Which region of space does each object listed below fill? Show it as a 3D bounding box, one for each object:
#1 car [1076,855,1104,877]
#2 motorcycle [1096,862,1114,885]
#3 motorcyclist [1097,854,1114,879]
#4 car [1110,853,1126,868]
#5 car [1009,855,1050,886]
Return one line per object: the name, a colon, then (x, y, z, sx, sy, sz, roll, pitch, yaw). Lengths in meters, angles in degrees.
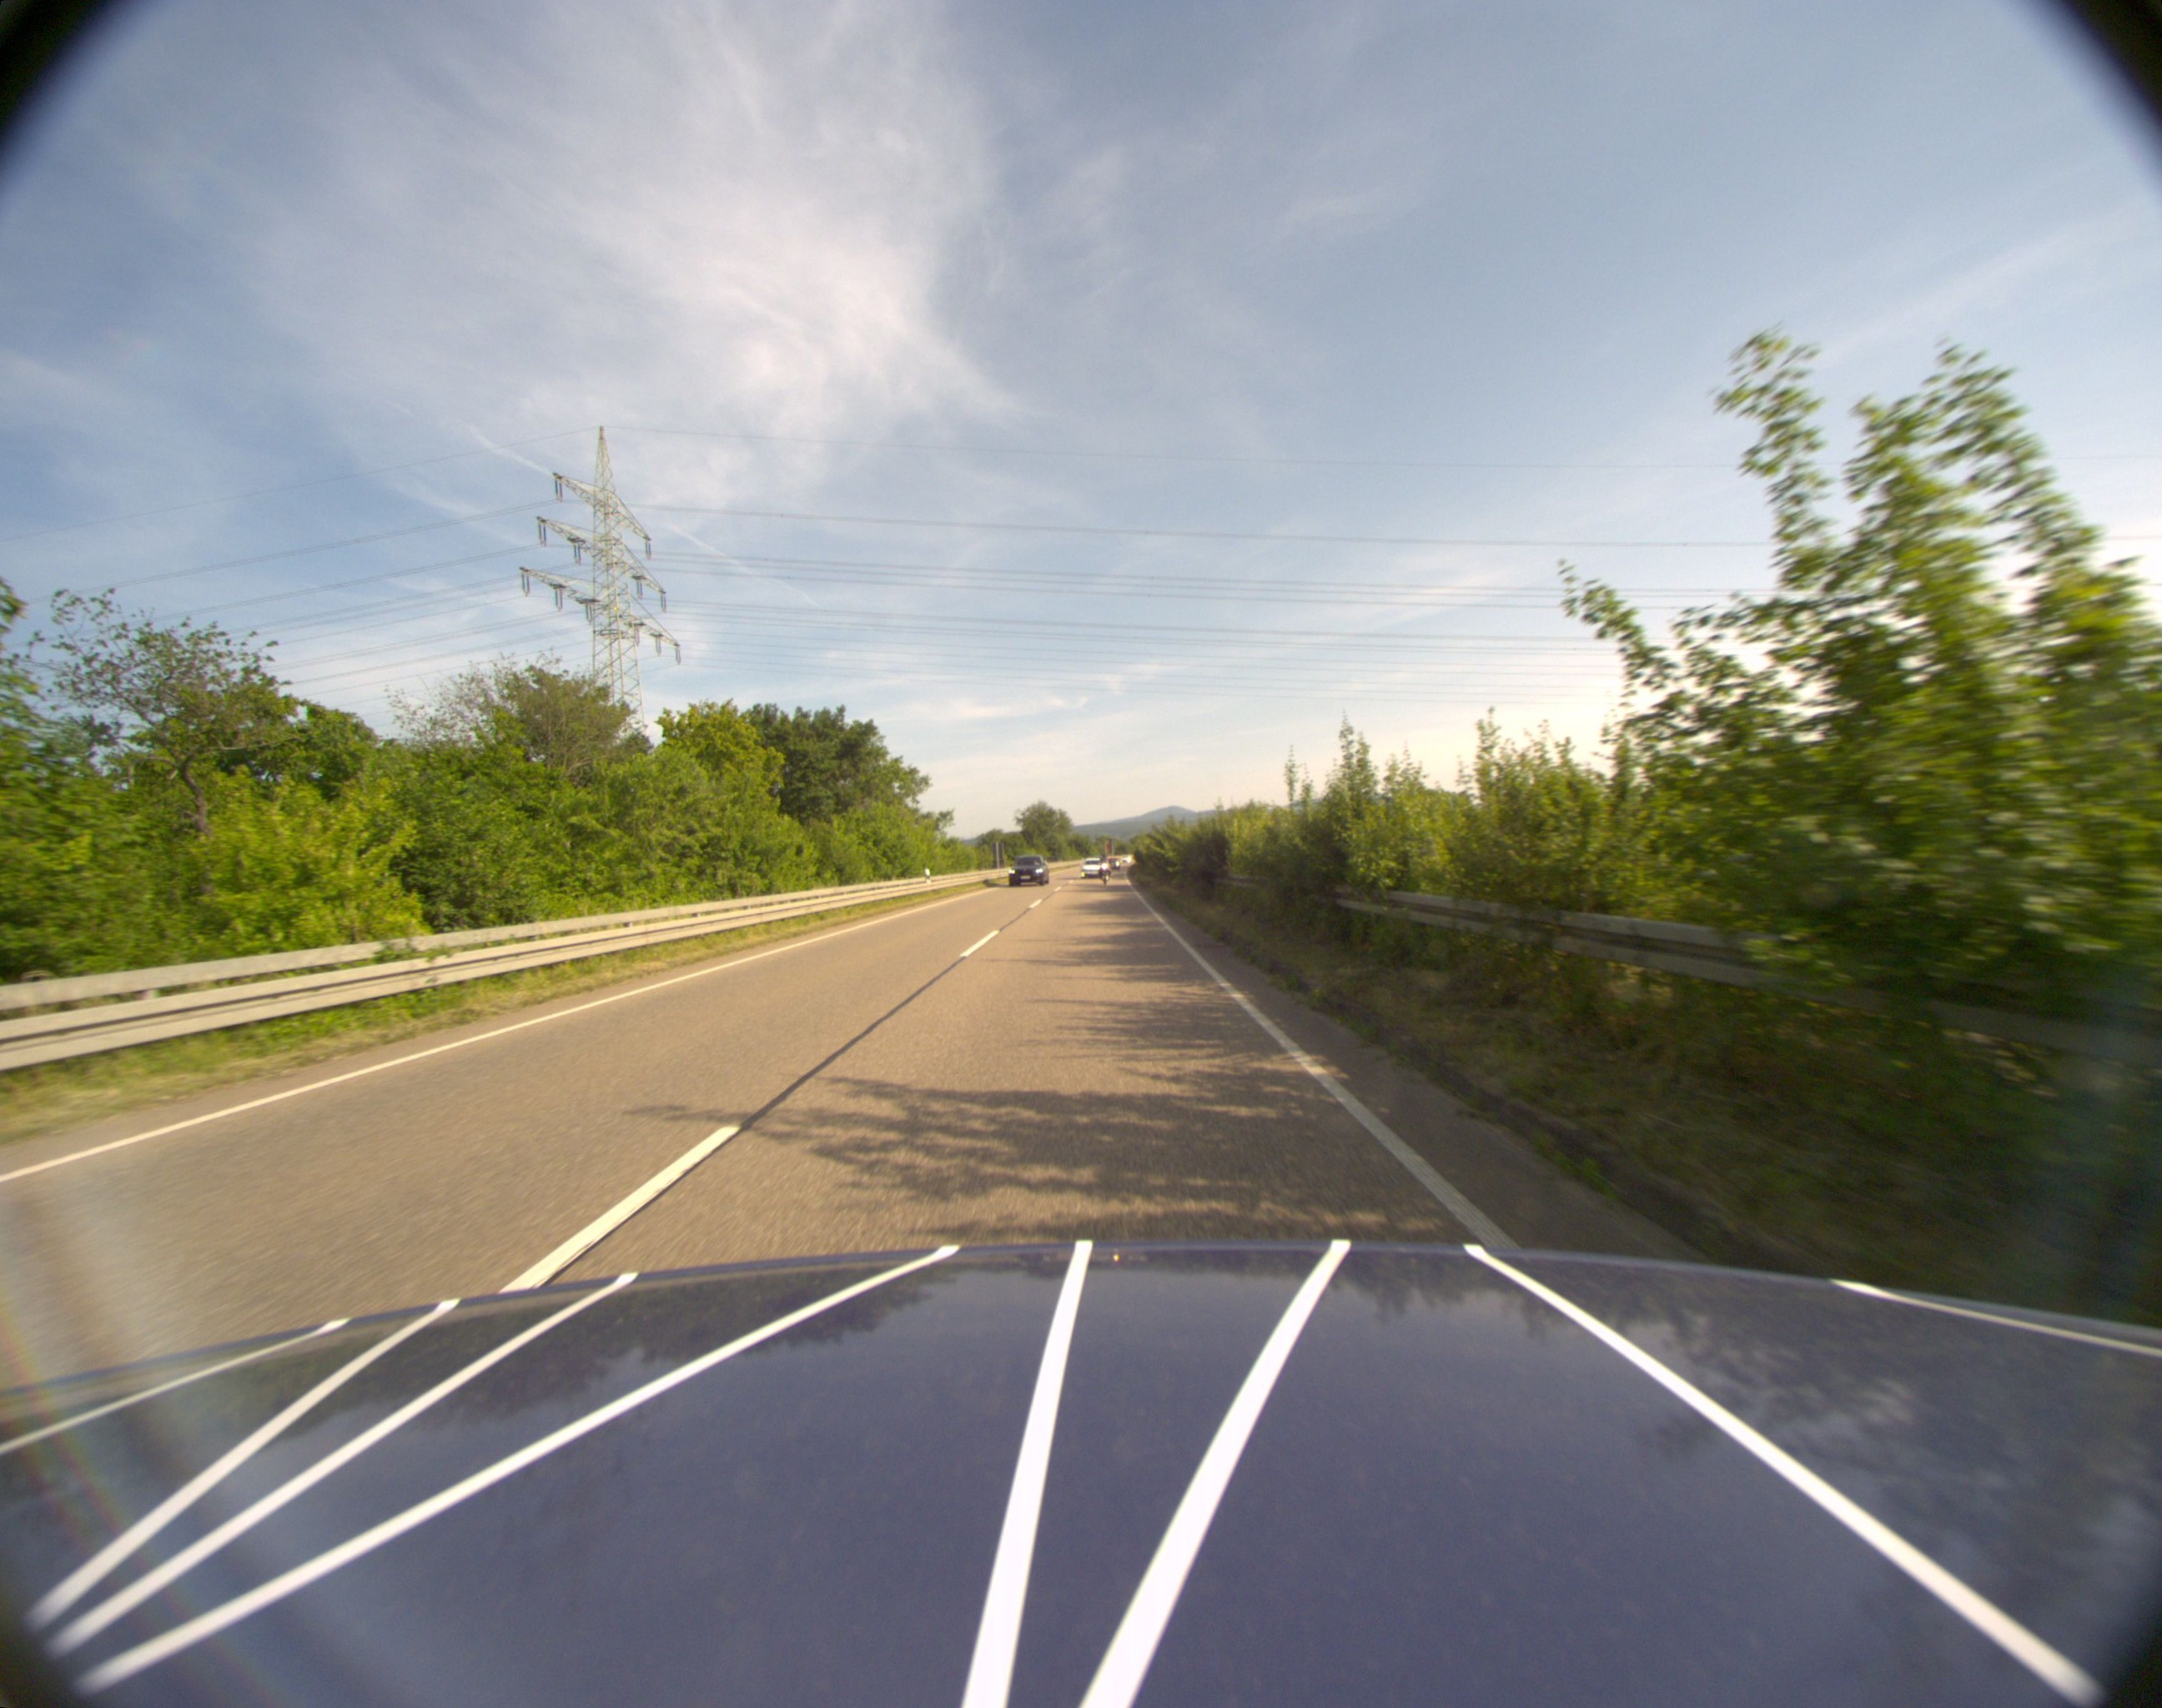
car: (0.637, 0.855, 55.985, 1.869, 1.454, 4.083, -2, 0, -1)
motorcycle: (1.348, 1.063, 42.230, 0.937, 1.131, 2.582, -1, 1, 2)
motorcyclist: (1.346, 0.683, 42.131, 0.937, 1.344, 1.142, -1, 1, 1)
car: (4.058, 0.711, 83.855, 1.677, 1.541, 3.827, -2, 1, 3)
car: (-2.921, 0.889, 43.847, 1.877, 1.630, 4.000, -2, 0, 3)
